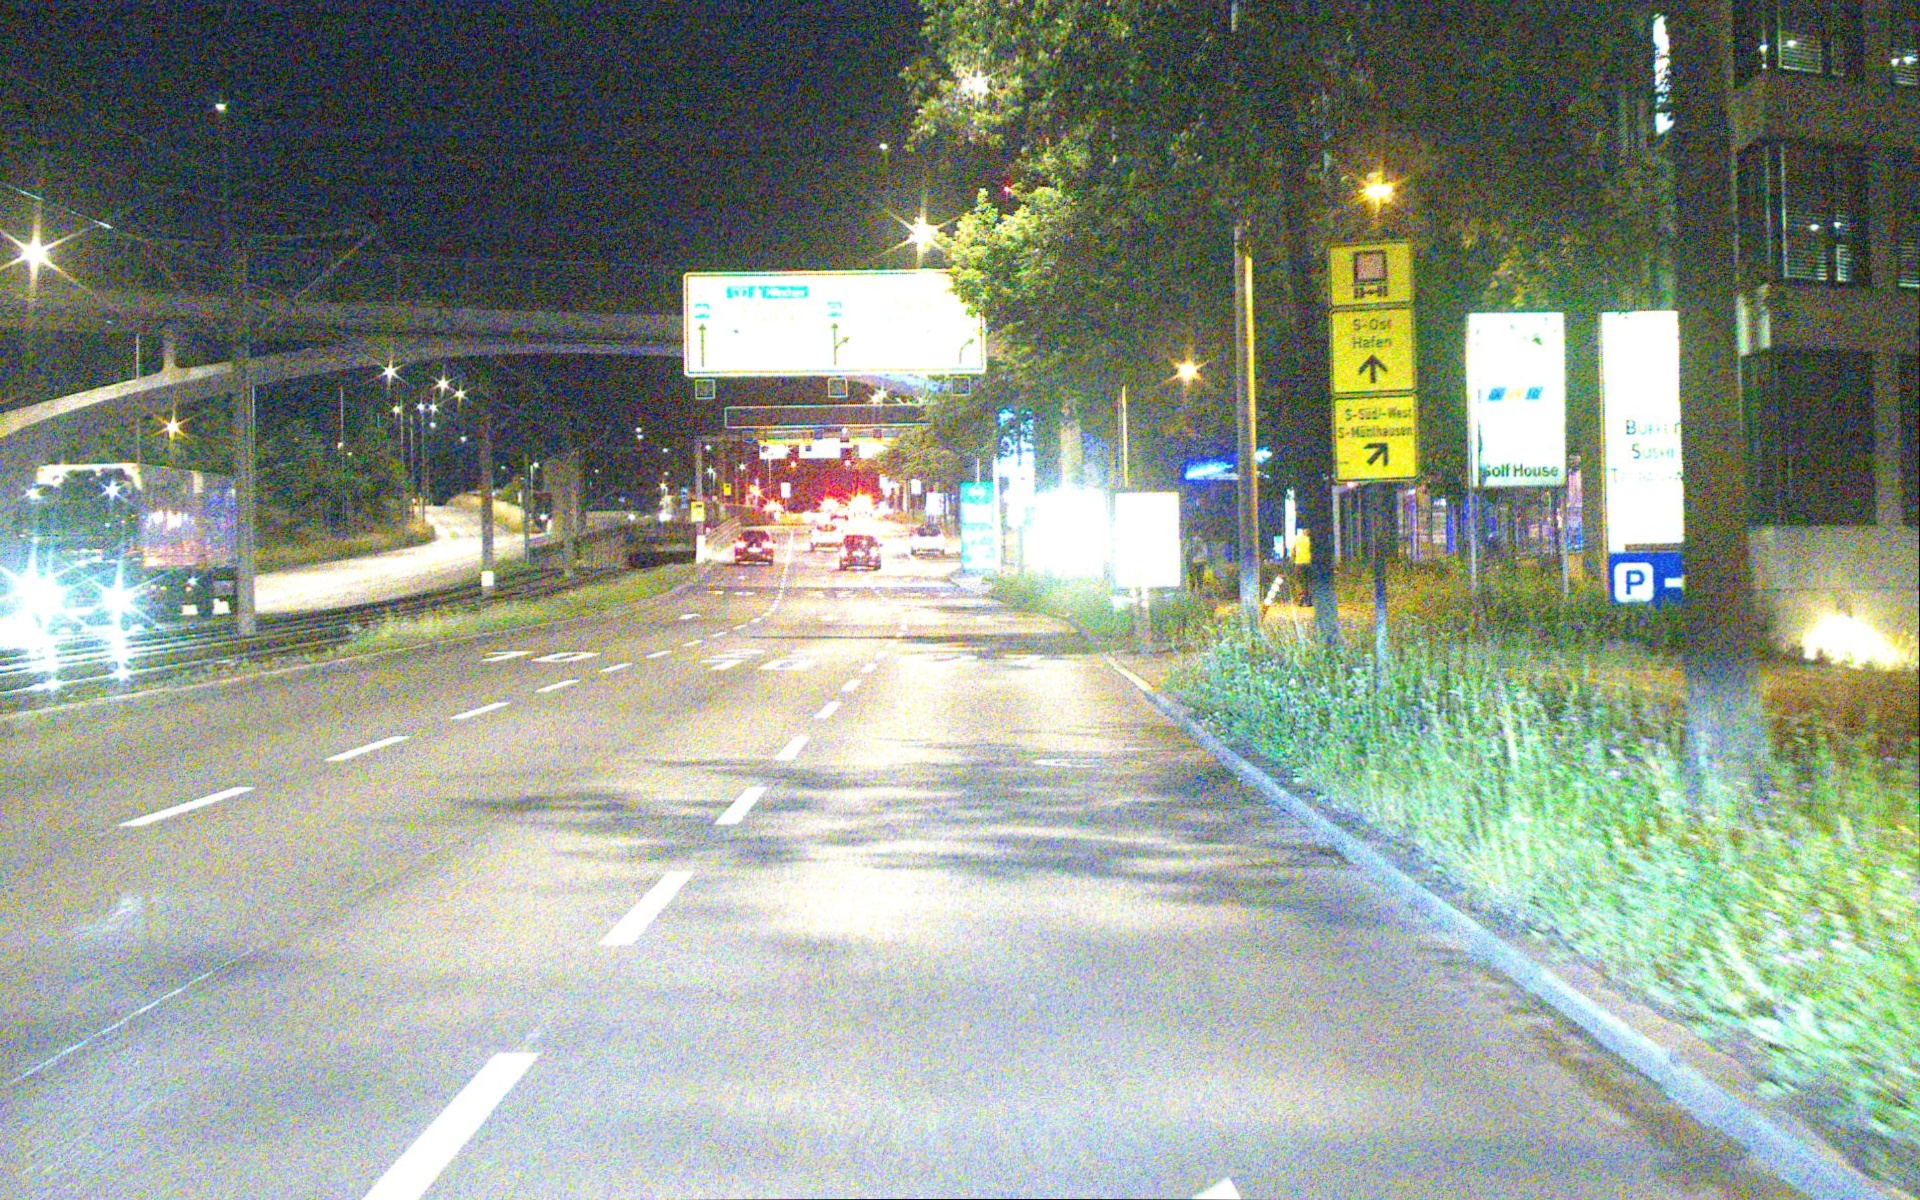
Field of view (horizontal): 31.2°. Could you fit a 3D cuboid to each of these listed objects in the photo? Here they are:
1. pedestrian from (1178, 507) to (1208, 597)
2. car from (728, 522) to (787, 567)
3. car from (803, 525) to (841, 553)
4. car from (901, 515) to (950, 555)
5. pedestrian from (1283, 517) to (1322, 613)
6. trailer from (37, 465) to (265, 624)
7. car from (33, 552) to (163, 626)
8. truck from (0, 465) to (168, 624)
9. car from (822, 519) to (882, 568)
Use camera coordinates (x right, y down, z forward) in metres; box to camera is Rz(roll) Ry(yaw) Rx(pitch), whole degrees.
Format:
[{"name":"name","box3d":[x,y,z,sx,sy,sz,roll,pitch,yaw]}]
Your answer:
[{"name":"pedestrian","box3d":[6.308,-1.308,93.127,0.745,2.426,0.779,0,1,2]},{"name":"car","box3d":[-9.373,-2.586,159.386,2.263,2.006,4.826,0,2,2]},{"name":"car","box3d":[-7.699,-3.397,191.597,1.993,1.548,4.000,-1,1,-1]},{"name":"car","box3d":[-1.866,-3.570,188.194,2.427,2.106,4.826,0,2,2]},{"name":"pedestrian","box3d":[7.406,-0.759,74.345,0.762,2.056,0.643,0,2,0]},{"name":"trailer","box3d":[-21.790,-1.603,93.611,2.994,3.986,13.956,0,2,0]},{"name":"car","box3d":[-18.481,-0.262,73.853,1.910,1.468,3.772,0,2,-1]},{"name":"truck","box3d":[-21.714,-1.411,85.165,3.041,3.806,4.935,0,2,0]},{"name":"car","box3d":[-4.836,-2.544,154.355,2.356,2.121,4.826,0,2,2]}]
